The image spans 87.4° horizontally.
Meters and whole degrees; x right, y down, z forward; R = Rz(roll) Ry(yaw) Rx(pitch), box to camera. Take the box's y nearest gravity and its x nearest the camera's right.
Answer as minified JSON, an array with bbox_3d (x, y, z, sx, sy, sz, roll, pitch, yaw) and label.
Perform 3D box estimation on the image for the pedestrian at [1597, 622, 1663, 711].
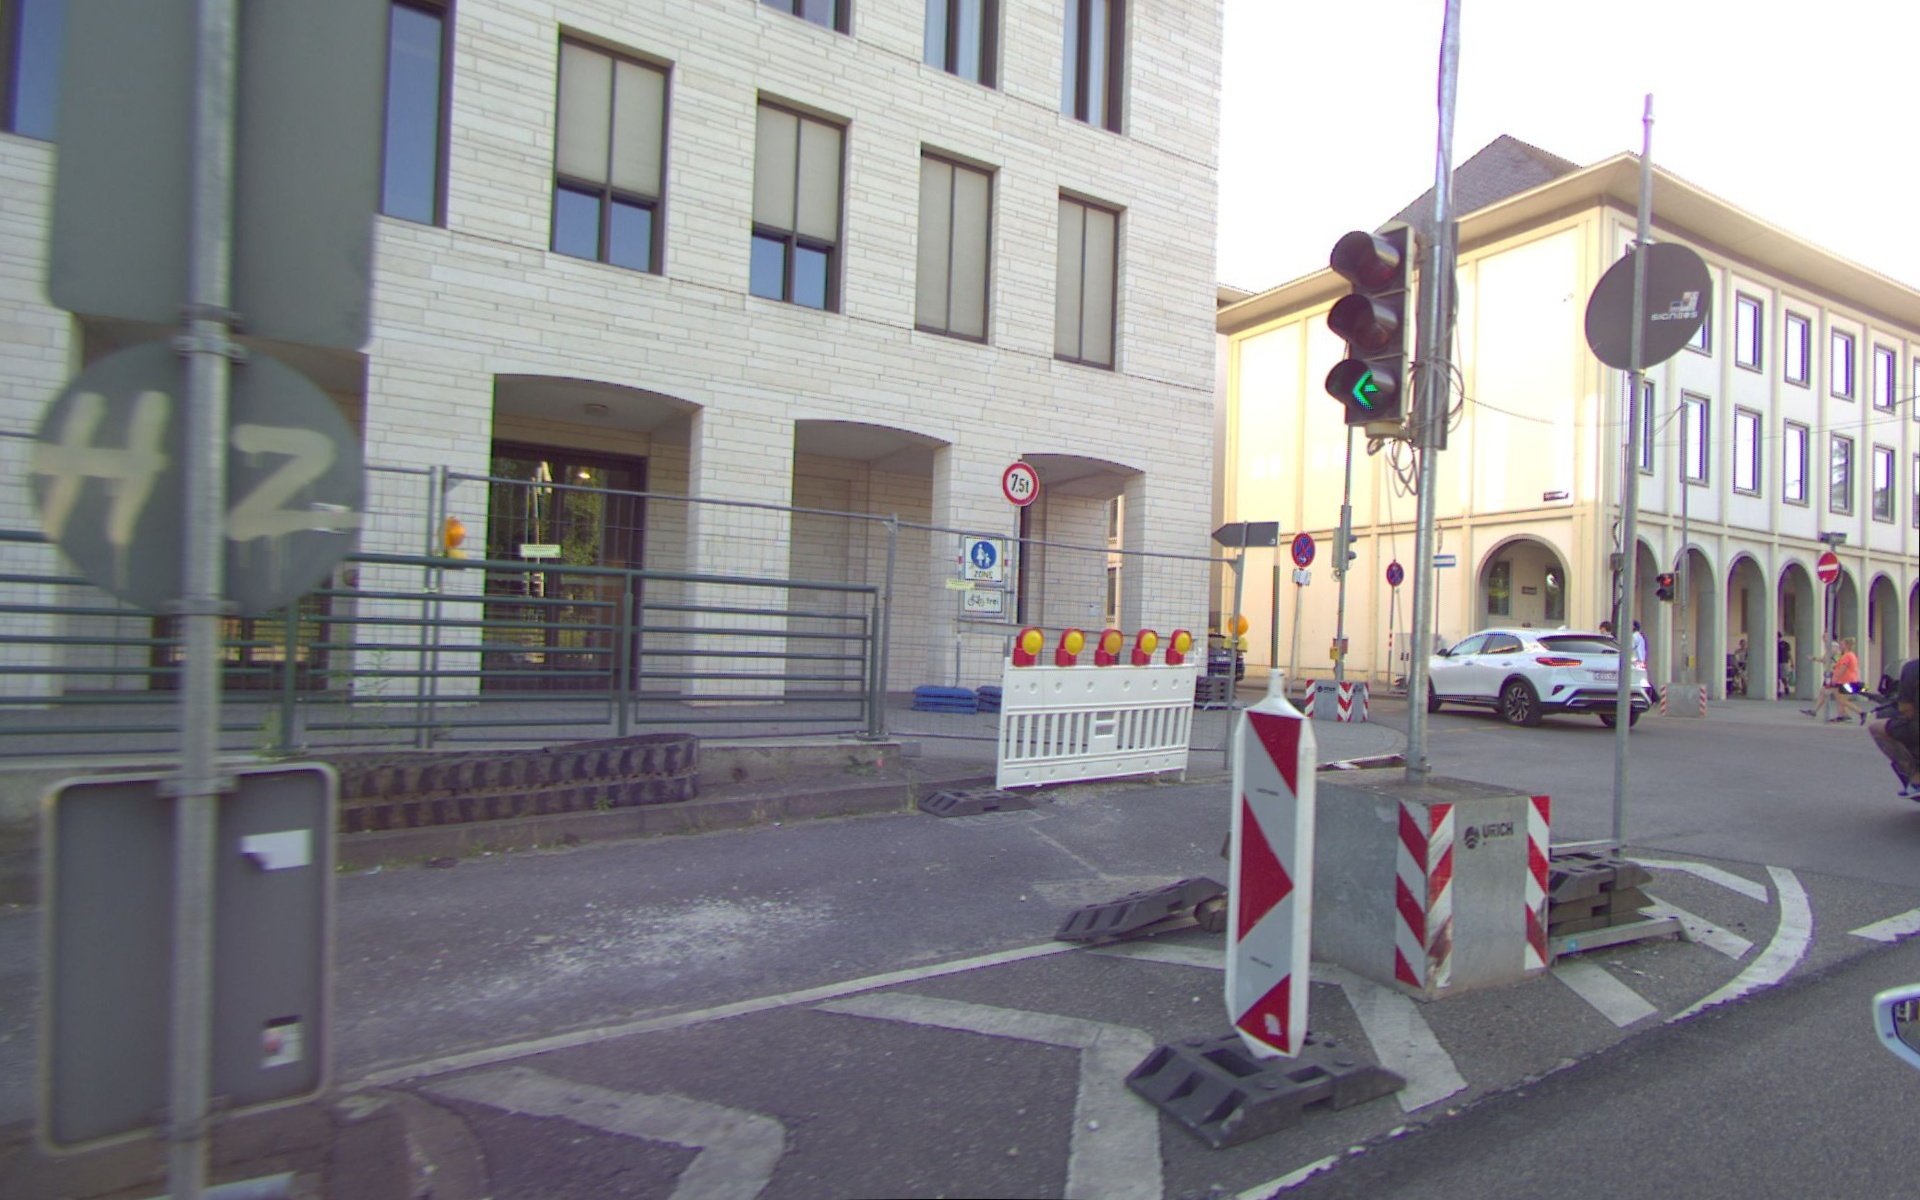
[{"bbox_3d":[14.126,1.372,21.187,0.702,1.801,0.934,-1,-1,-29],"label":"pedestrian"}]

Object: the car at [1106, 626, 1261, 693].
[{"bbox_3d":[5.635,1.468,25.814,1.756,1.570,4.081,2,-2,-25],"label":"car"}]

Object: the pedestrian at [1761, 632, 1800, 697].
[{"bbox_3d":[23.994,1.876,29.392,0.717,1.865,0.638,-1,0,-25],"label":"pedestrian"}]

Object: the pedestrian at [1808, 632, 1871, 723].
[{"bbox_3d":[16.551,1.440,18.906,0.612,1.646,0.721,-1,0,-29],"label":"pedestrian"}]

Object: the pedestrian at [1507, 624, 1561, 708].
[{"bbox_3d":[12.839,1.459,22.480,0.702,1.826,0.769,-1,-1,-29],"label":"pedestrian"}]

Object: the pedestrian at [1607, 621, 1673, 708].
[{"bbox_3d":[14.589,1.365,21.567,0.702,1.801,0.934,-1,-1,-29],"label":"pedestrian"}]

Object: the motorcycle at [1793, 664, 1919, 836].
[{"bbox_3d":[7.742,1.153,8.001,0.891,1.199,2.579,0,-2,20],"label":"motorcycle"}]

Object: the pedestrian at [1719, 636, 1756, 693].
[{"bbox_3d":[23.361,1.924,30.170,0.717,1.646,0.616,-1,0,-25],"label":"pedestrian"}]

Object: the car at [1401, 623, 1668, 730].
[{"bbox_3d":[9.111,1.187,16.369,1.830,1.491,3.998,2,-3,-5],"label":"car"}]

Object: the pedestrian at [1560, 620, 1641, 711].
[{"bbox_3d":[13.403,1.340,21.039,0.708,1.826,1.238,-1,-1,-29],"label":"pedestrian"}]

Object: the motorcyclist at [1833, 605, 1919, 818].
[{"bbox_3d":[7.733,0.844,7.882,0.938,1.580,1.239,0,-1,20],"label":"motorcyclist"}]

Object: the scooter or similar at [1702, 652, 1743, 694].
[{"bbox_3d":[22.616,2.152,29.790,0.945,1.173,0.616,-1,0,-25],"label":"scooter or similar"}]

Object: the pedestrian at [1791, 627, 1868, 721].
[{"bbox_3d":[16.820,1.400,19.438,0.667,1.732,0.960,-1,0,-29],"label":"pedestrian"}]
